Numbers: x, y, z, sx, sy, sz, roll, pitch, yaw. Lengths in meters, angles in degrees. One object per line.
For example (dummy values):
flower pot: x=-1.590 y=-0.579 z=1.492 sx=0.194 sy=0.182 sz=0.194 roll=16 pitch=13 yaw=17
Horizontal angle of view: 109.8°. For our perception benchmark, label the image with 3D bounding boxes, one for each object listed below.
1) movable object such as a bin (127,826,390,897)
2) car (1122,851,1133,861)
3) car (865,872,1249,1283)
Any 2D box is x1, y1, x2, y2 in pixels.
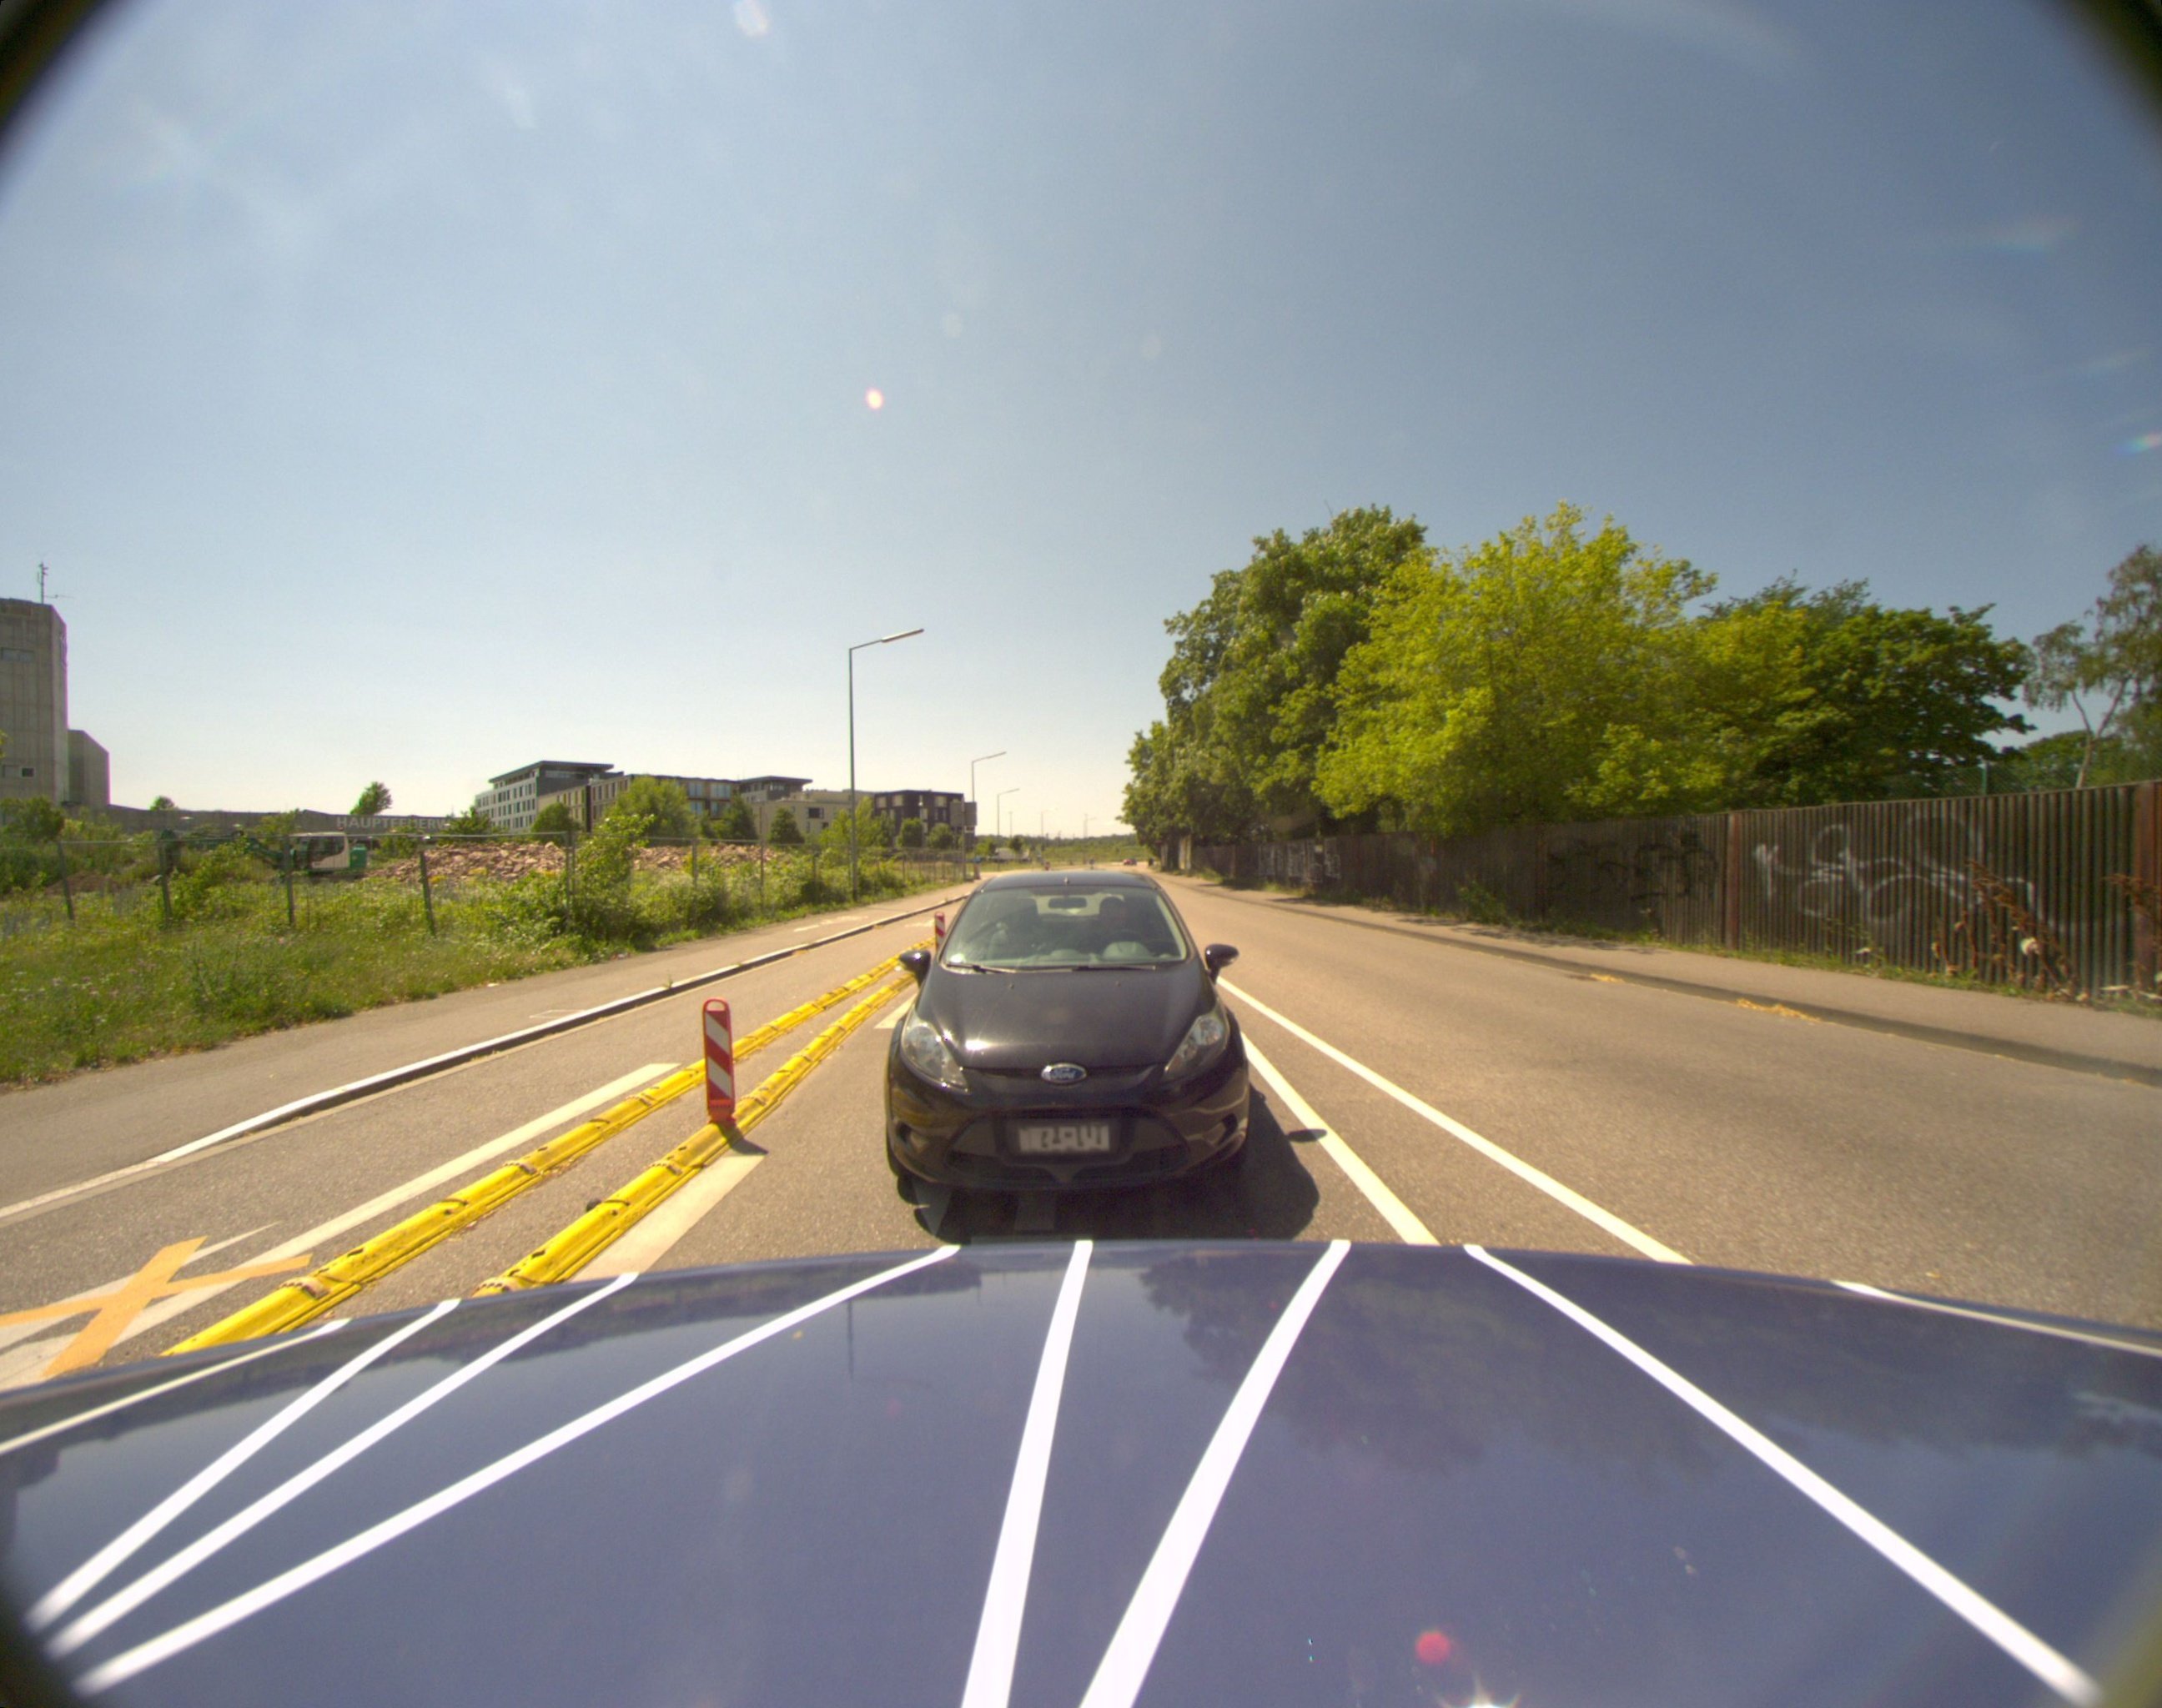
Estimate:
movable object such as a bin: x=-38.348 y=0.261 z=35.945 sx=3.231 sy=2.899 sz=7.702 roll=-2 pitch=1 yaw=15
car: x=8.862 y=0.384 z=144.848 sx=1.924 sy=1.643 sz=4.668 roll=-2 pitch=1 yaw=1
car: x=-0.071 y=0.973 z=5.131 sx=1.528 sy=1.510 sz=3.999 roll=-2 pitch=1 yaw=1
